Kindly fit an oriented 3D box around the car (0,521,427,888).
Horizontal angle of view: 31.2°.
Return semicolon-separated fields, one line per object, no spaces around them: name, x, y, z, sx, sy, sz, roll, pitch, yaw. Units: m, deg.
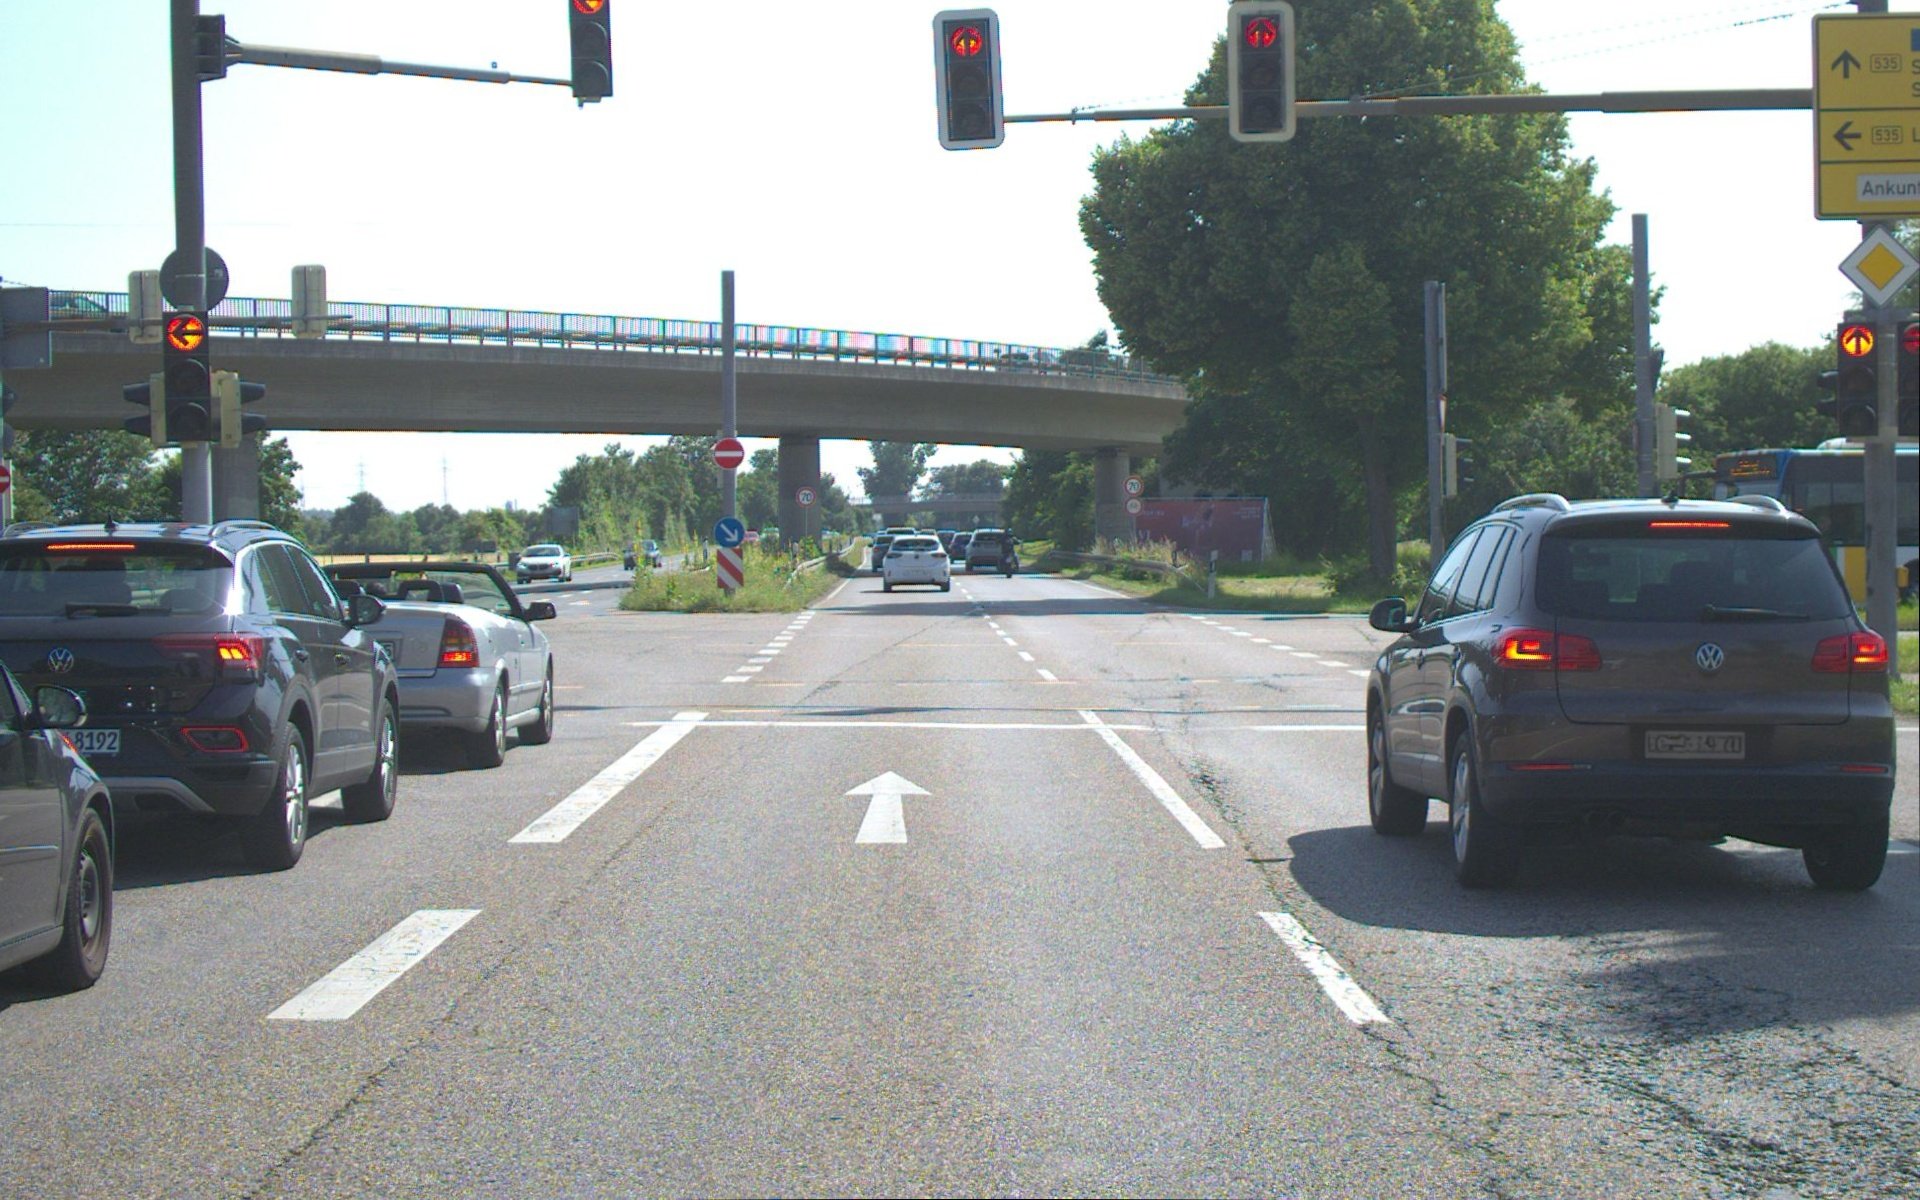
car;-3.743;0.395;16.560;1.728;1.542;4.098;0;1;0

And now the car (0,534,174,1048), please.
car;-3.602;0.556;10.073;1.666;1.469;4.098;0;1;0

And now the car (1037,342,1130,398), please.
car;4.715;-8.707;130.380;1.996;1.831;3.994;2;0;27

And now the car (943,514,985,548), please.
car;0.205;-3.457;172.691;1.993;1.626;4.000;2;0;-1

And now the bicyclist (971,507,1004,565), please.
bicyclist;0.913;-2.118;114.008;1.007;1.880;1.327;-1;1;-2

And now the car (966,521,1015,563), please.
car;1.226;-2.309;136.507;1.873;1.634;4.000;1;1;1

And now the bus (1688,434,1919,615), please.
bus;18.446;-1.375;58.068;11.935;2.867;2.943;-2;1;-15

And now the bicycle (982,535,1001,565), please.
bicycle;1.042;-1.669;113.909;0.600;0.980;2.361;-1;1;0

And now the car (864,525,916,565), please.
car;-2.682;-2.125;132.123;1.873;1.487;4.000;-1;1;1

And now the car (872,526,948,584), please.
car;-1.264;-1.174;88.544;1.851;1.456;4.000;1;1;1

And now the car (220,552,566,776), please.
car;-3.729;0.368;23.228;1.673;1.330;4.098;0;1;0

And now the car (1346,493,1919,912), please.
car;2.942;0.374;15.821;1.755;1.650;4.147;1;1;-1

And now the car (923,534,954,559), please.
car;-1.446;-3.603;231.913;1.993;1.650;4.000;2;0;0

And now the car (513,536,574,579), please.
car;-15.976;-1.648;132.076;1.882;1.510;4.148;-4;1;-2

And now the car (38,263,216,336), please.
car;-21.013;-7.564;86.831;1.998;1.481;3.991;2;0;36
